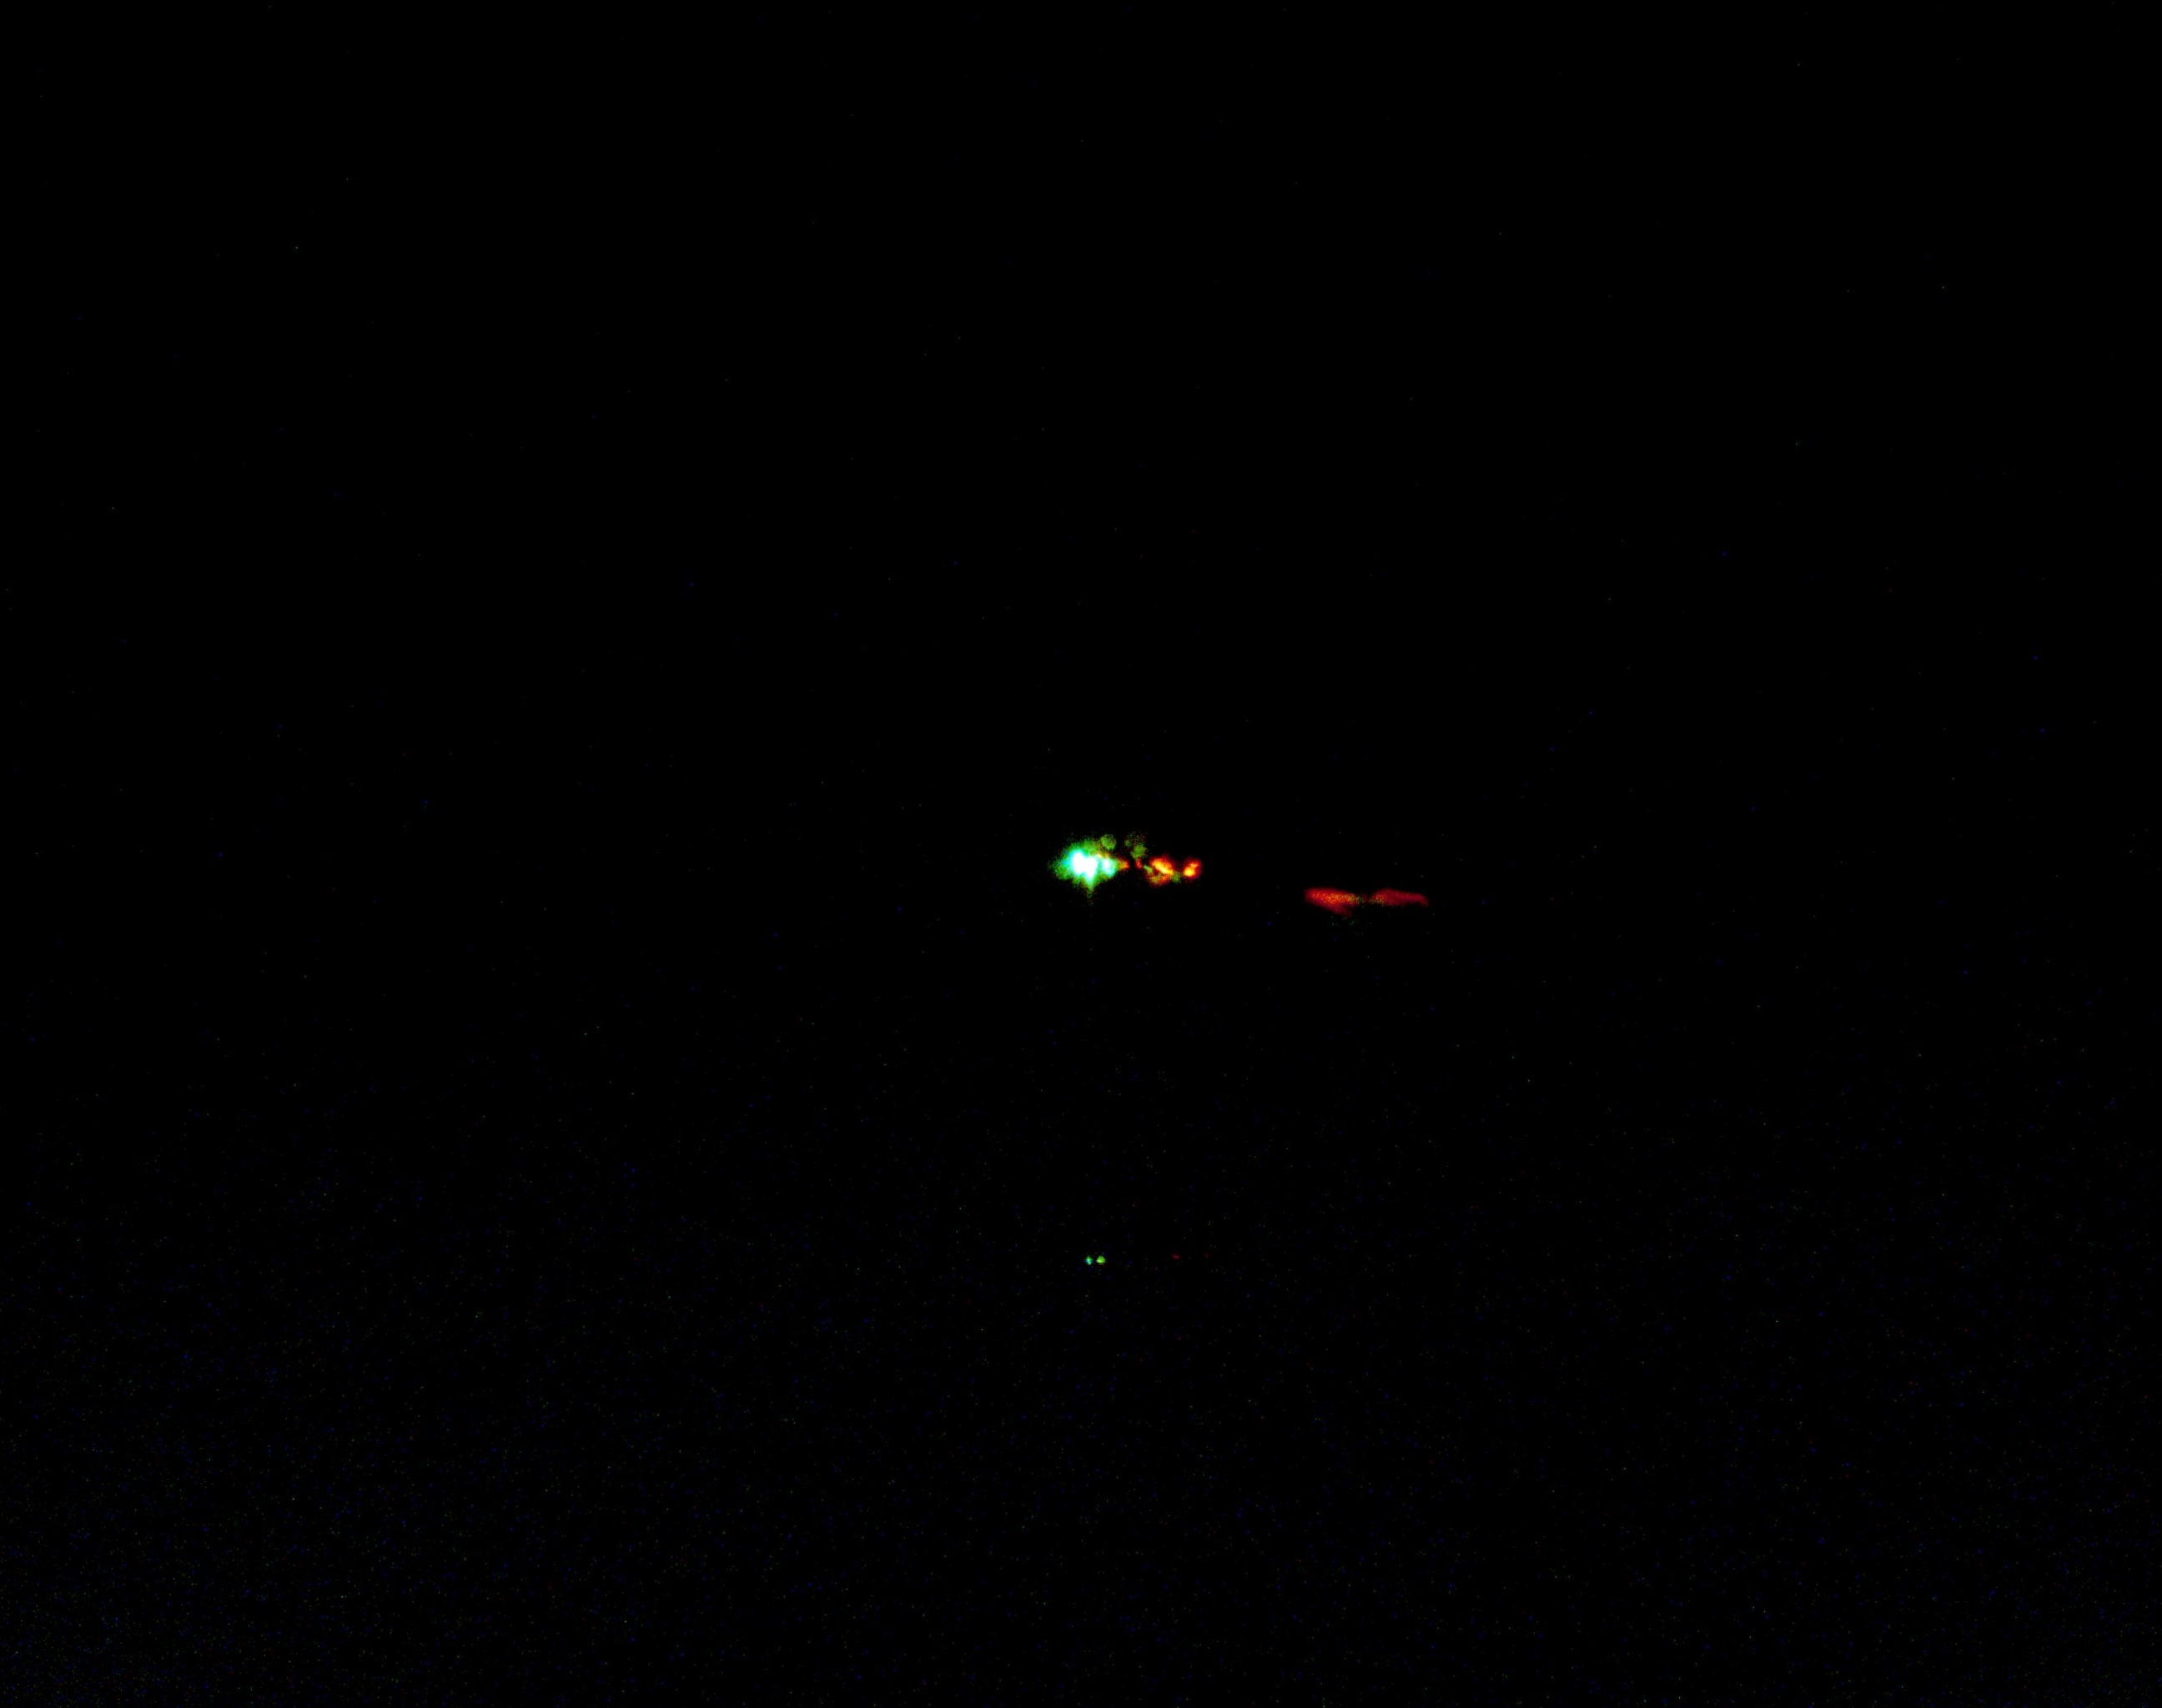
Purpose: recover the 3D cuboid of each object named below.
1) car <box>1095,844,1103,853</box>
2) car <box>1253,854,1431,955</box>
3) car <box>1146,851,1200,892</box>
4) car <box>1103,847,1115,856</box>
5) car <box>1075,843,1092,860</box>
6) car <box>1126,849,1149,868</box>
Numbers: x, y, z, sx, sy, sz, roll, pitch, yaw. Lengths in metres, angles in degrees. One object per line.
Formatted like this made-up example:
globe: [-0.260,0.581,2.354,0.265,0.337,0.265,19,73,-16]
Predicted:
car: [4.555,-1.390,192.846,1.998,2.002,3.999,-1,1,1]
car: [4.445,0.773,13.612,1.824,1.433,3.999,-1,1,1]
car: [4.113,0.731,34.627,1.998,1.652,3.999,-1,1,1]
car: [5.040,-0.478,135.522,1.998,1.540,4.000,-1,0,0]
car: [0.281,-0.310,91.121,1.998,2.002,3.999,-1,1,1]
car: [5.400,0.407,72.950,1.998,1.652,3.999,-1,1,1]
